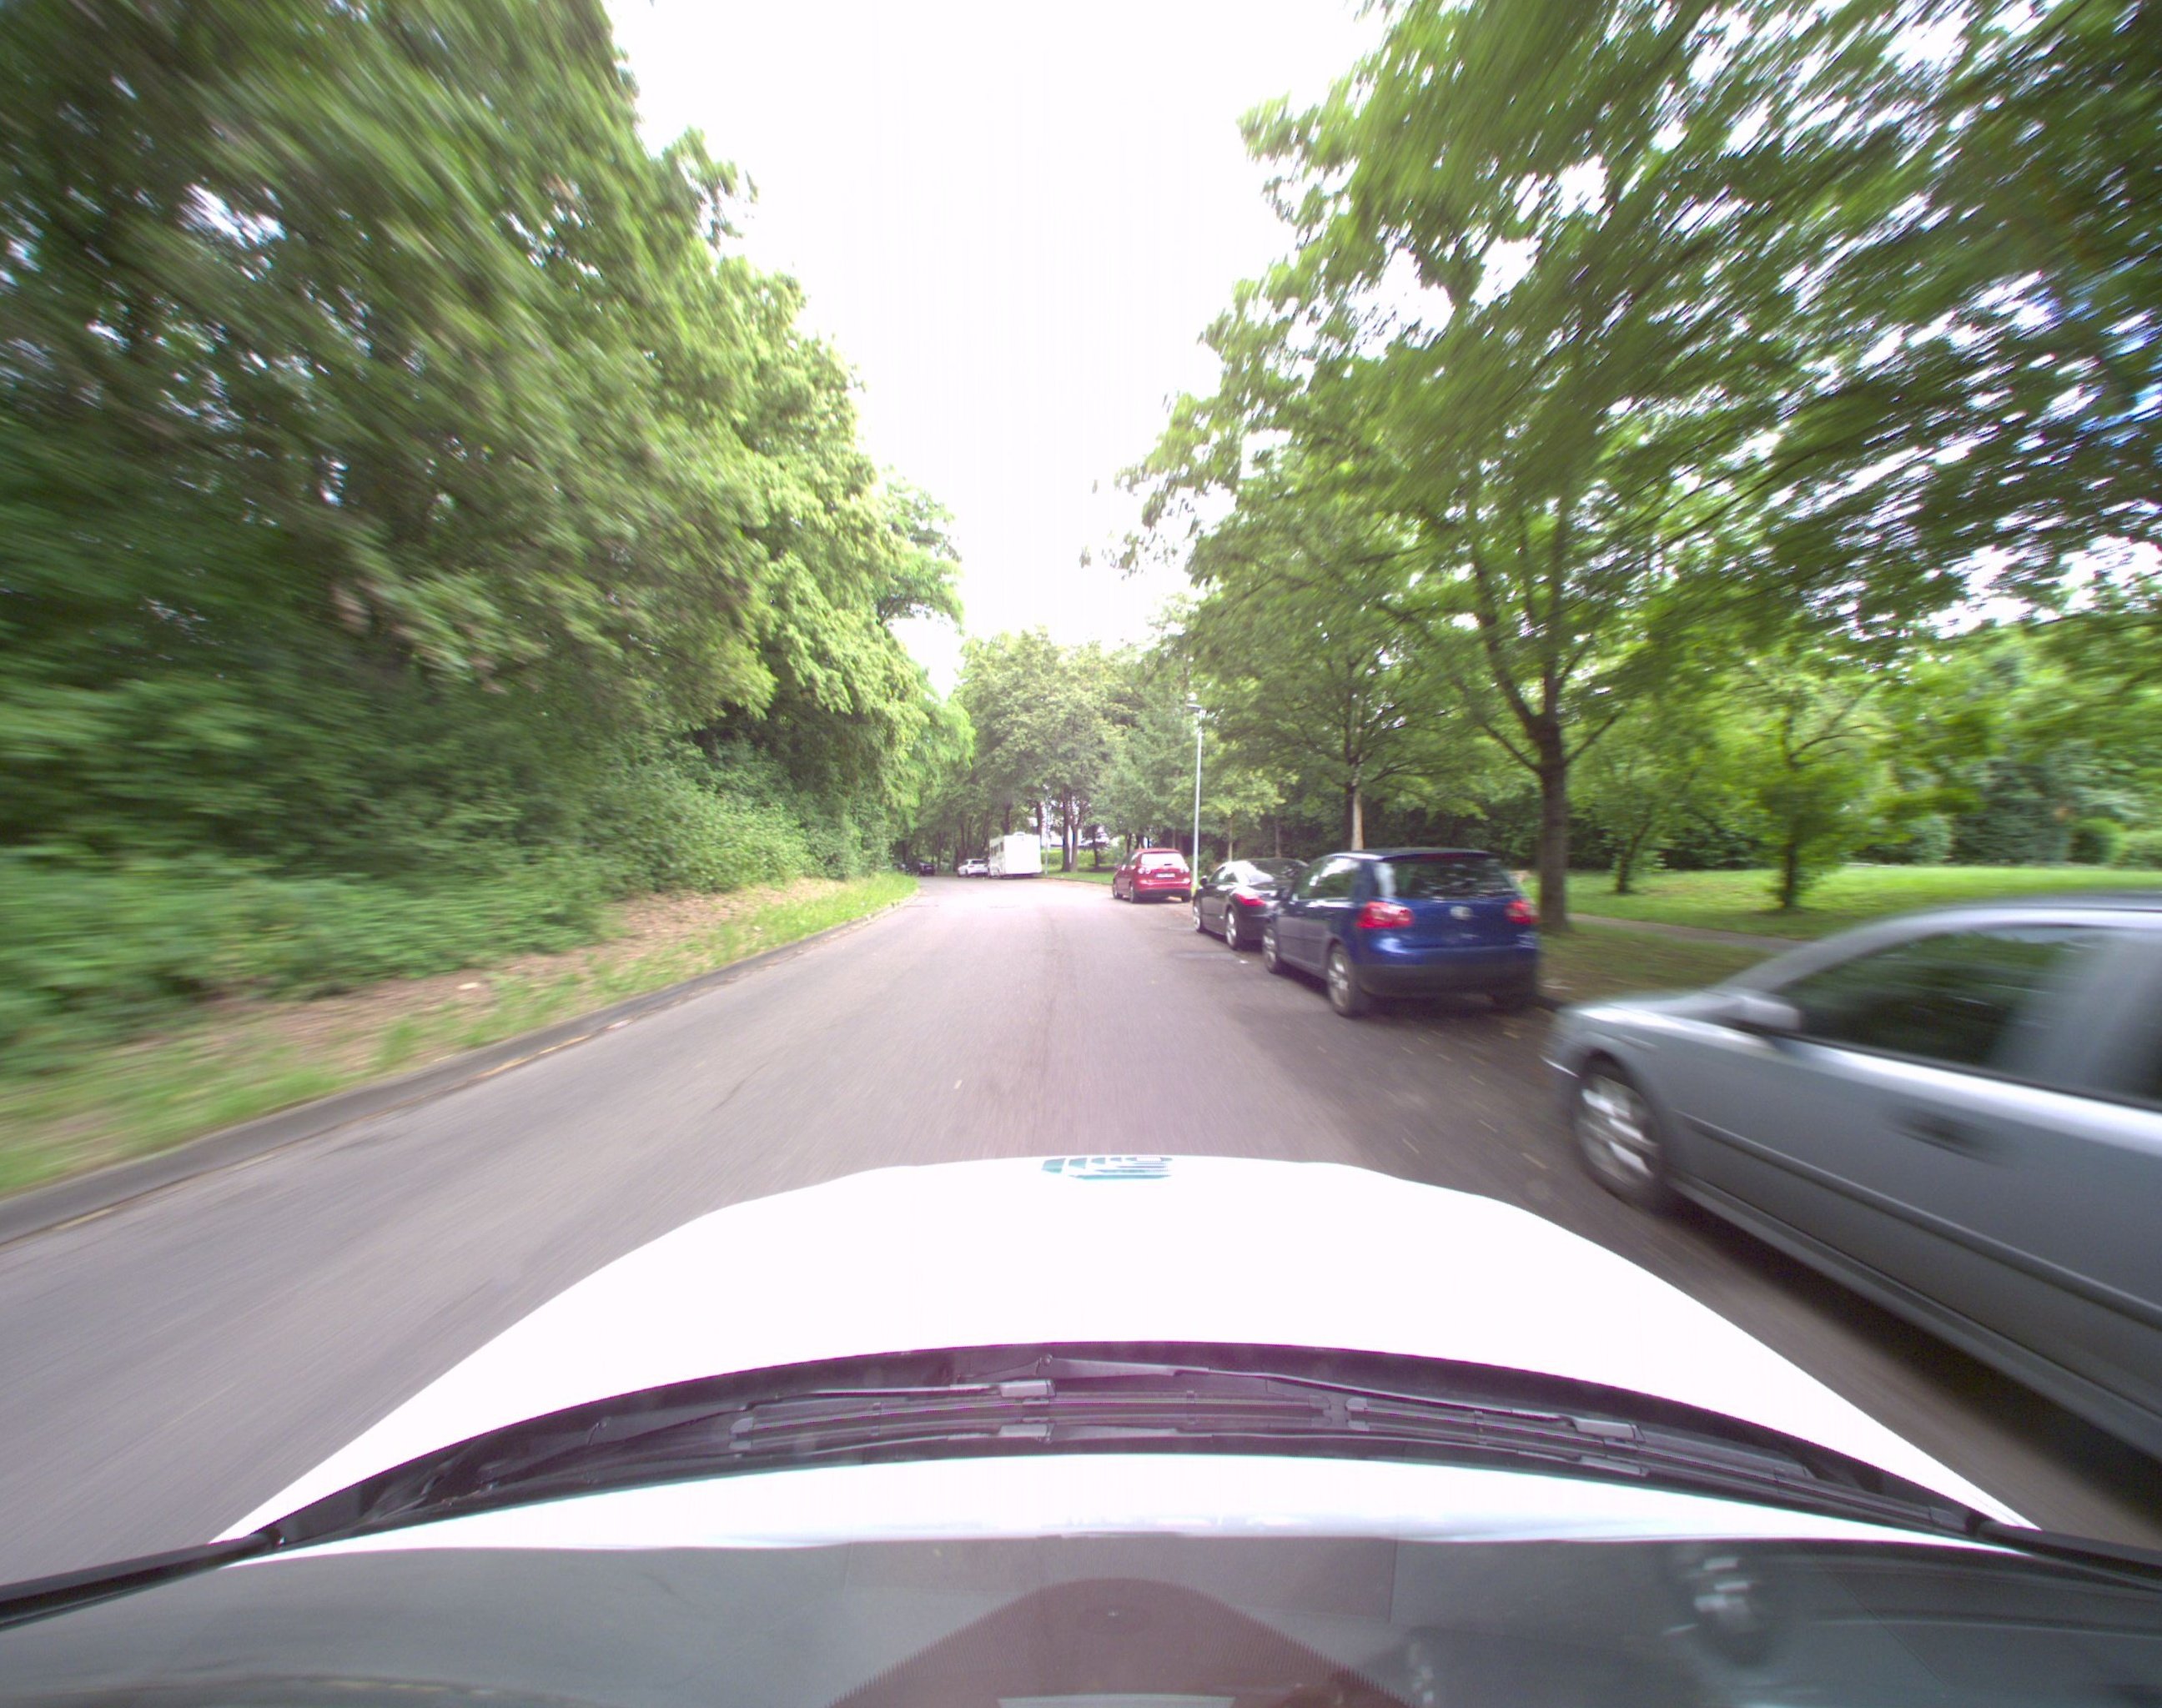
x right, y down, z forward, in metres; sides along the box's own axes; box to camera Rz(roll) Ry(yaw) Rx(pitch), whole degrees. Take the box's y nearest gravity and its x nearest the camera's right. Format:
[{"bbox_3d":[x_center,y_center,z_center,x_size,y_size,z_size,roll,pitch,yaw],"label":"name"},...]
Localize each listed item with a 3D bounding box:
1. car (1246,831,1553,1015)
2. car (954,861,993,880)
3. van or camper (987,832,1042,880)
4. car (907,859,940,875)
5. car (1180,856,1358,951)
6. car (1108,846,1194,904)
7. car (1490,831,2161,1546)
[{"bbox_3d":[3.108,0.593,8.950,1.709,1.509,4.179,1,0,0],"label":"car"},{"bbox_3d":[-8.794,1.326,66.329,2.004,1.473,3.966,1,0,-26],"label":"car"},{"bbox_3d":[-4.451,0.104,53.904,2.436,3.007,5.177,-1,0,-18],"label":"van or camper"},{"bbox_3d":[-15.729,1.313,81.327,2.006,1.501,3.961,2,0,-31],"label":"car"},{"bbox_3d":[2.935,0.698,13.715,1.746,1.337,4.410,0,0,-4],"label":"car"},{"bbox_3d":[2.018,0.601,24.603,1.737,1.562,3.989,-1,0,-8],"label":"car"},{"bbox_3d":[3.013,0.655,2.336,1.712,1.431,3.949,-1,0,0],"label":"car"}]
